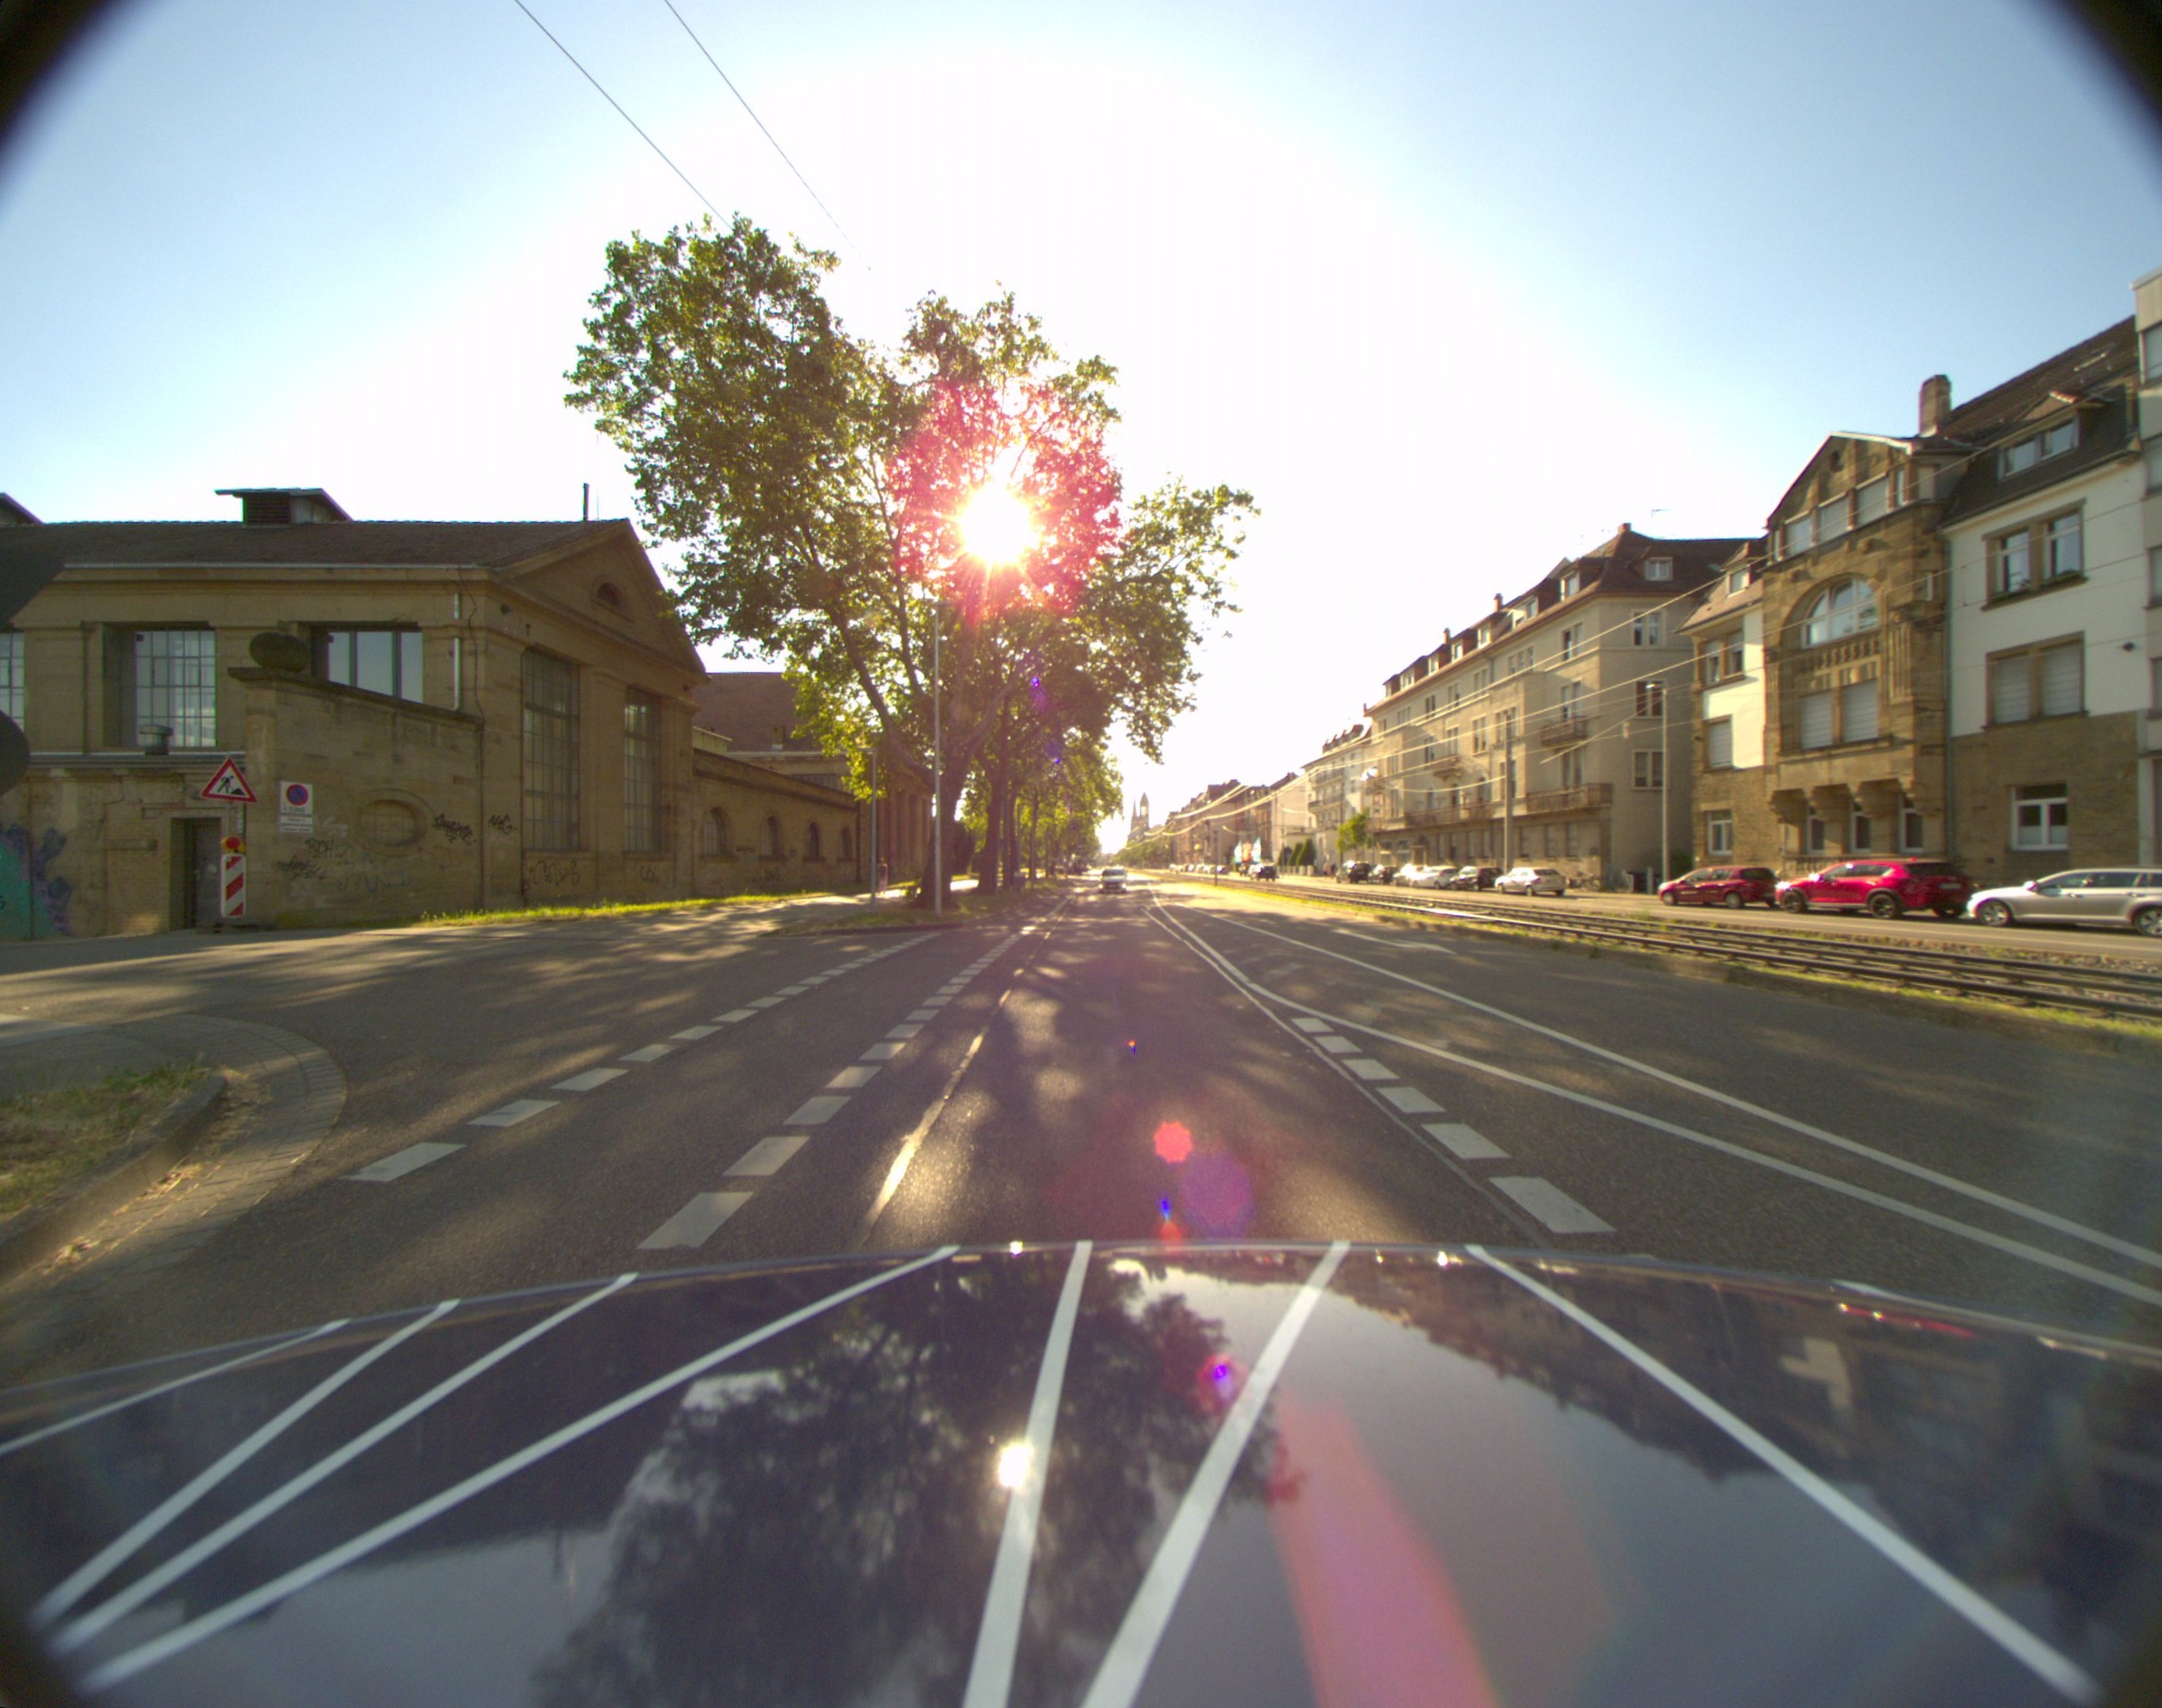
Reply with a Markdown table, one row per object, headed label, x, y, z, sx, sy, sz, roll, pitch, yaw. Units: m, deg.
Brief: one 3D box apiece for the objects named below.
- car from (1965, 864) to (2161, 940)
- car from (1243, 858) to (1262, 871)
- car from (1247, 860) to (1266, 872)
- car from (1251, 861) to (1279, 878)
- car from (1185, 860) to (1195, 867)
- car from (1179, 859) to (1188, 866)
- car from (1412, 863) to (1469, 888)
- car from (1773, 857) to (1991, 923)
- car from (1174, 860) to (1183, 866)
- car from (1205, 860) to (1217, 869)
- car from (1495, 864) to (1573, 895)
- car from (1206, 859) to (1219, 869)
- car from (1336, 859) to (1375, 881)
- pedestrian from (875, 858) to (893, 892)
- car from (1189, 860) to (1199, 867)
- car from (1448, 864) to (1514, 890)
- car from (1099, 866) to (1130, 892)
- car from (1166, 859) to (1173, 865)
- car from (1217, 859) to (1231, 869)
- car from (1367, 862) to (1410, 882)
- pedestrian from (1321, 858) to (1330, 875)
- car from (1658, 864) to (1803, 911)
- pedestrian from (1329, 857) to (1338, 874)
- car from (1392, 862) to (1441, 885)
| label | x | y | z | sx | sy | sz | roll | pitch | yaw |
| --- | --- | --- | --- | --- | --- | --- | --- | --- | --- |
| car | 23.022 | 1.002 | 16.773 | 1.861 | 1.490 | 4.382 | -2 | -1 | 0 |
| car | 24.164 | 1.492 | 107.110 | 1.727 | 1.776 | 3.881 | -2 | 0 | 1 |
| car | 23.611 | 1.574 | 102.239 | 1.684 | 1.562 | 3.388 | -2 | 0 | 0 |
| car | 18.219 | 1.521 | 75.365 | 1.822 | 1.674 | 4.000 | 0 | 0 | 1 |
| car | 24.636 | 2.137 | 171.870 | 1.624 | 1.581 | 3.450 | -2 | 0 | 1 |
| car | 24.310 | 2.068 | 179.565 | 1.624 | 1.581 | 3.450 | -2 | 0 | 1 |
| car | 22.973 | 1.351 | 48.702 | 1.642 | 1.438 | 3.538 | -2 | 0 | -7 |
| car | 23.029 | 0.960 | 22.128 | 1.860 | 1.677 | 4.264 | -2 | 0 | 1 |
| car | 24.373 | 2.283 | 190.039 | 1.624 | 1.581 | 3.450 | -2 | 0 | 1 |
| car | 24.370 | 1.949 | 142.800 | 1.624 | 1.581 | 3.450 | -2 | 0 | 1 |
| car | 23.264 | 1.284 | 39.188 | 1.802 | 1.470 | 3.823 | -2 | 0 | 1 |
| car | 23.699 | 1.807 | 136.945 | 1.624 | 1.581 | 3.450 | -2 | 0 | 1 |
| car | 23.429 | 1.347 | 64.992 | 1.875 | 1.726 | 3.916 | -2 | 0 | 1 |
| pedestrian | -9.704 | 1.031 | 37.450 | 0.672 | 1.652 | 0.874 | 1 | 0 | -4 |
| car | 24.767 | 2.091 | 166.906 | 1.624 | 1.581 | 3.450 | -2 | 0 | 1 |
| car | 23.377 | 1.308 | 44.566 | 1.802 | 1.422 | 3.823 | -2 | 0 | -1 |
| car | 2.029 | 1.470 | 45.804 | 1.686 | 1.462 | 4.056 | -2 | 0 | 3 |
| car | 25.369 | 2.225 | 217.139 | 1.624 | 1.581 | 3.450 | -2 | 0 | 1 |
| car | 24.026 | 1.706 | 127.679 | 1.624 | 1.581 | 3.450 | -2 | 0 | 1 |
| car | 24.022 | 1.388 | 59.517 | 1.802 | 1.470 | 3.823 | -2 | 0 | 1 |
| pedestrian | 26.006 | 1.307 | 80.707 | 0.725 | 1.779 | 0.678 | 0 | 0 | 0 |
| car | 23.097 | 1.133 | 27.221 | 1.756 | 1.487 | 3.729 | -2 | 0 | -5 |
| pedestrian | 26.772 | 1.262 | 80.546 | 0.725 | 1.779 | 0.678 | 0 | 0 | 0 |
| car | 23.645 | 1.351 | 53.627 | 1.802 | 1.470 | 3.823 | -2 | 0 | 1 |
